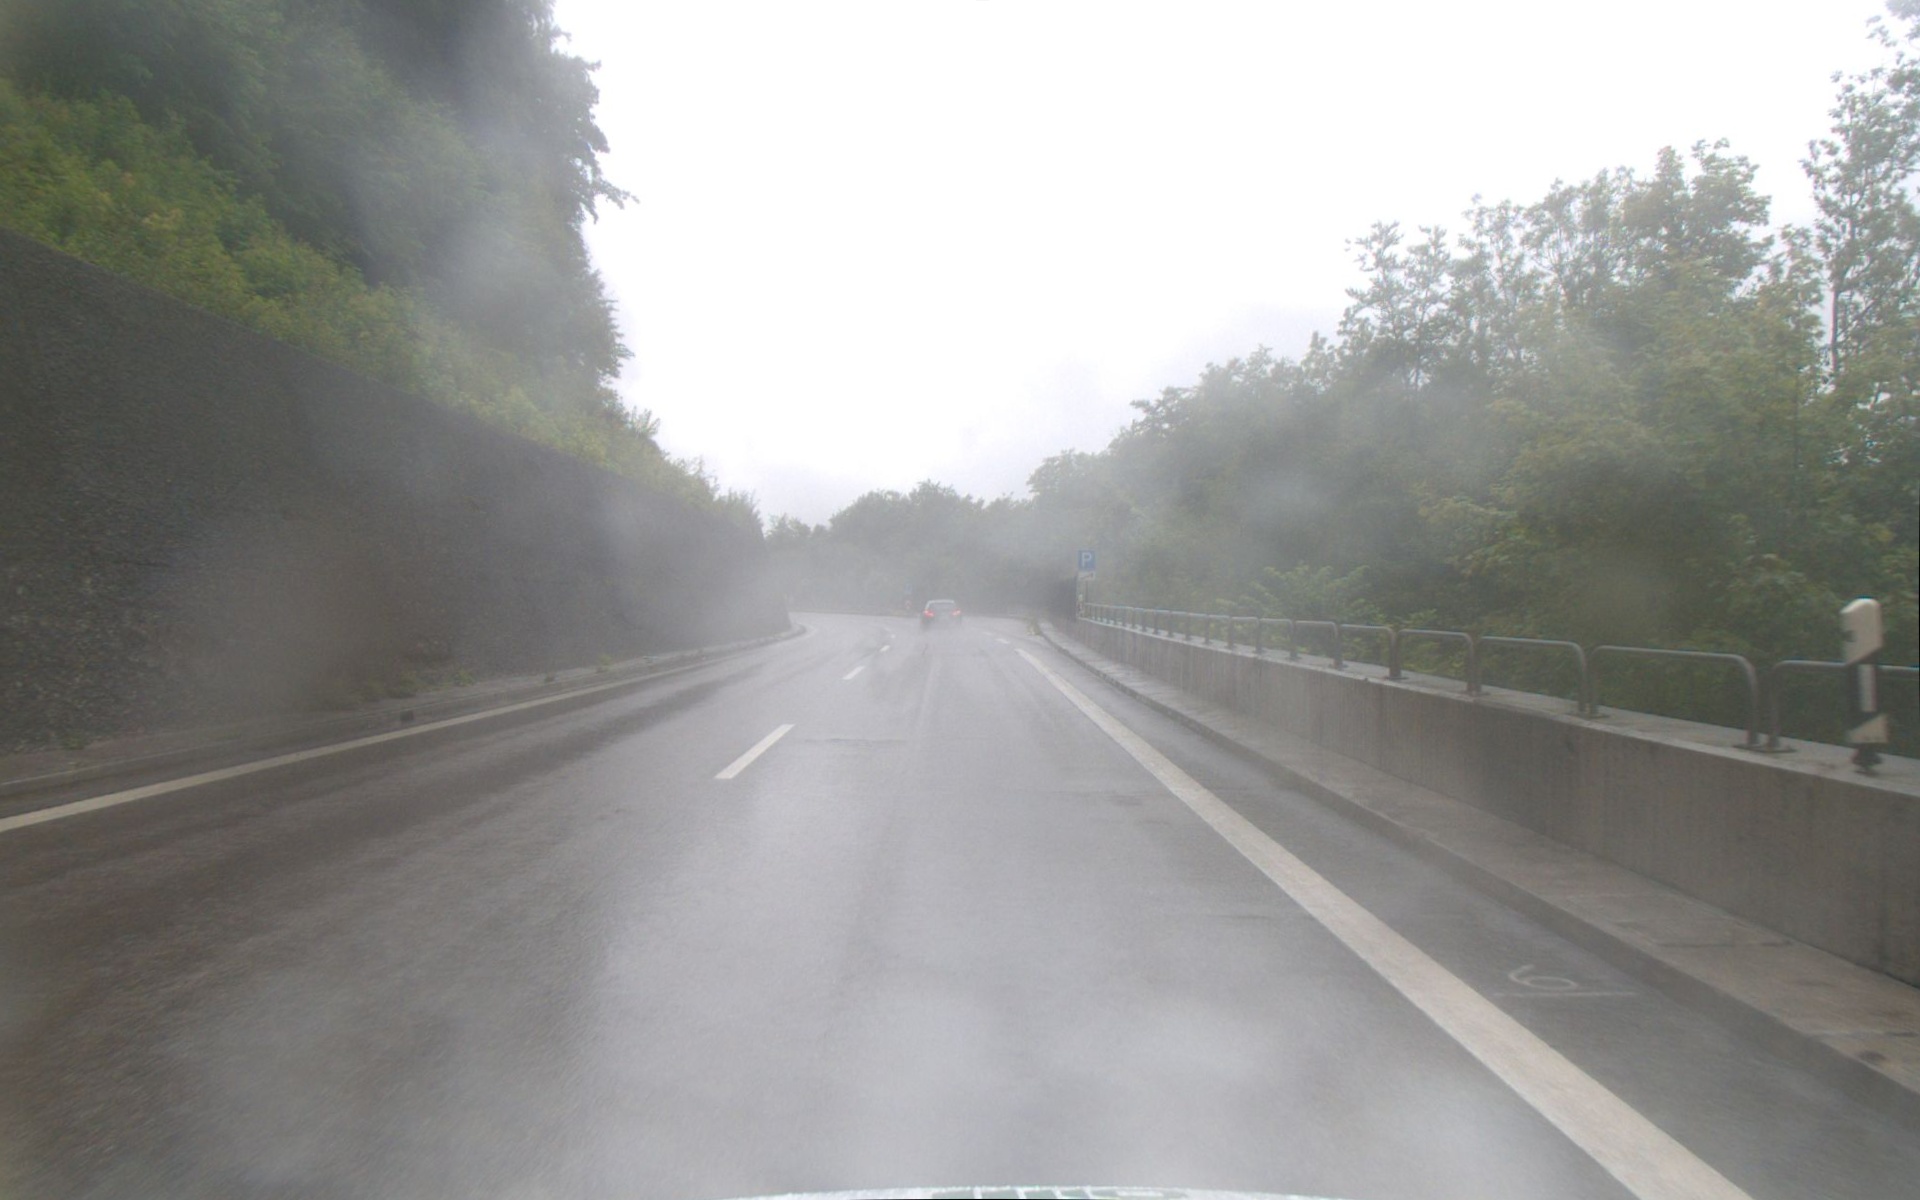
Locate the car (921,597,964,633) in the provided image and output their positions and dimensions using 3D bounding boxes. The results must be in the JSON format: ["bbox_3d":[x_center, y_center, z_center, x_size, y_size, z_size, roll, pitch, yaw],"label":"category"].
[{"bbox_3d":[-0.807,0.645,73.580,1.865,1.525,3.999,1,0,-2],"label":"car"}]
